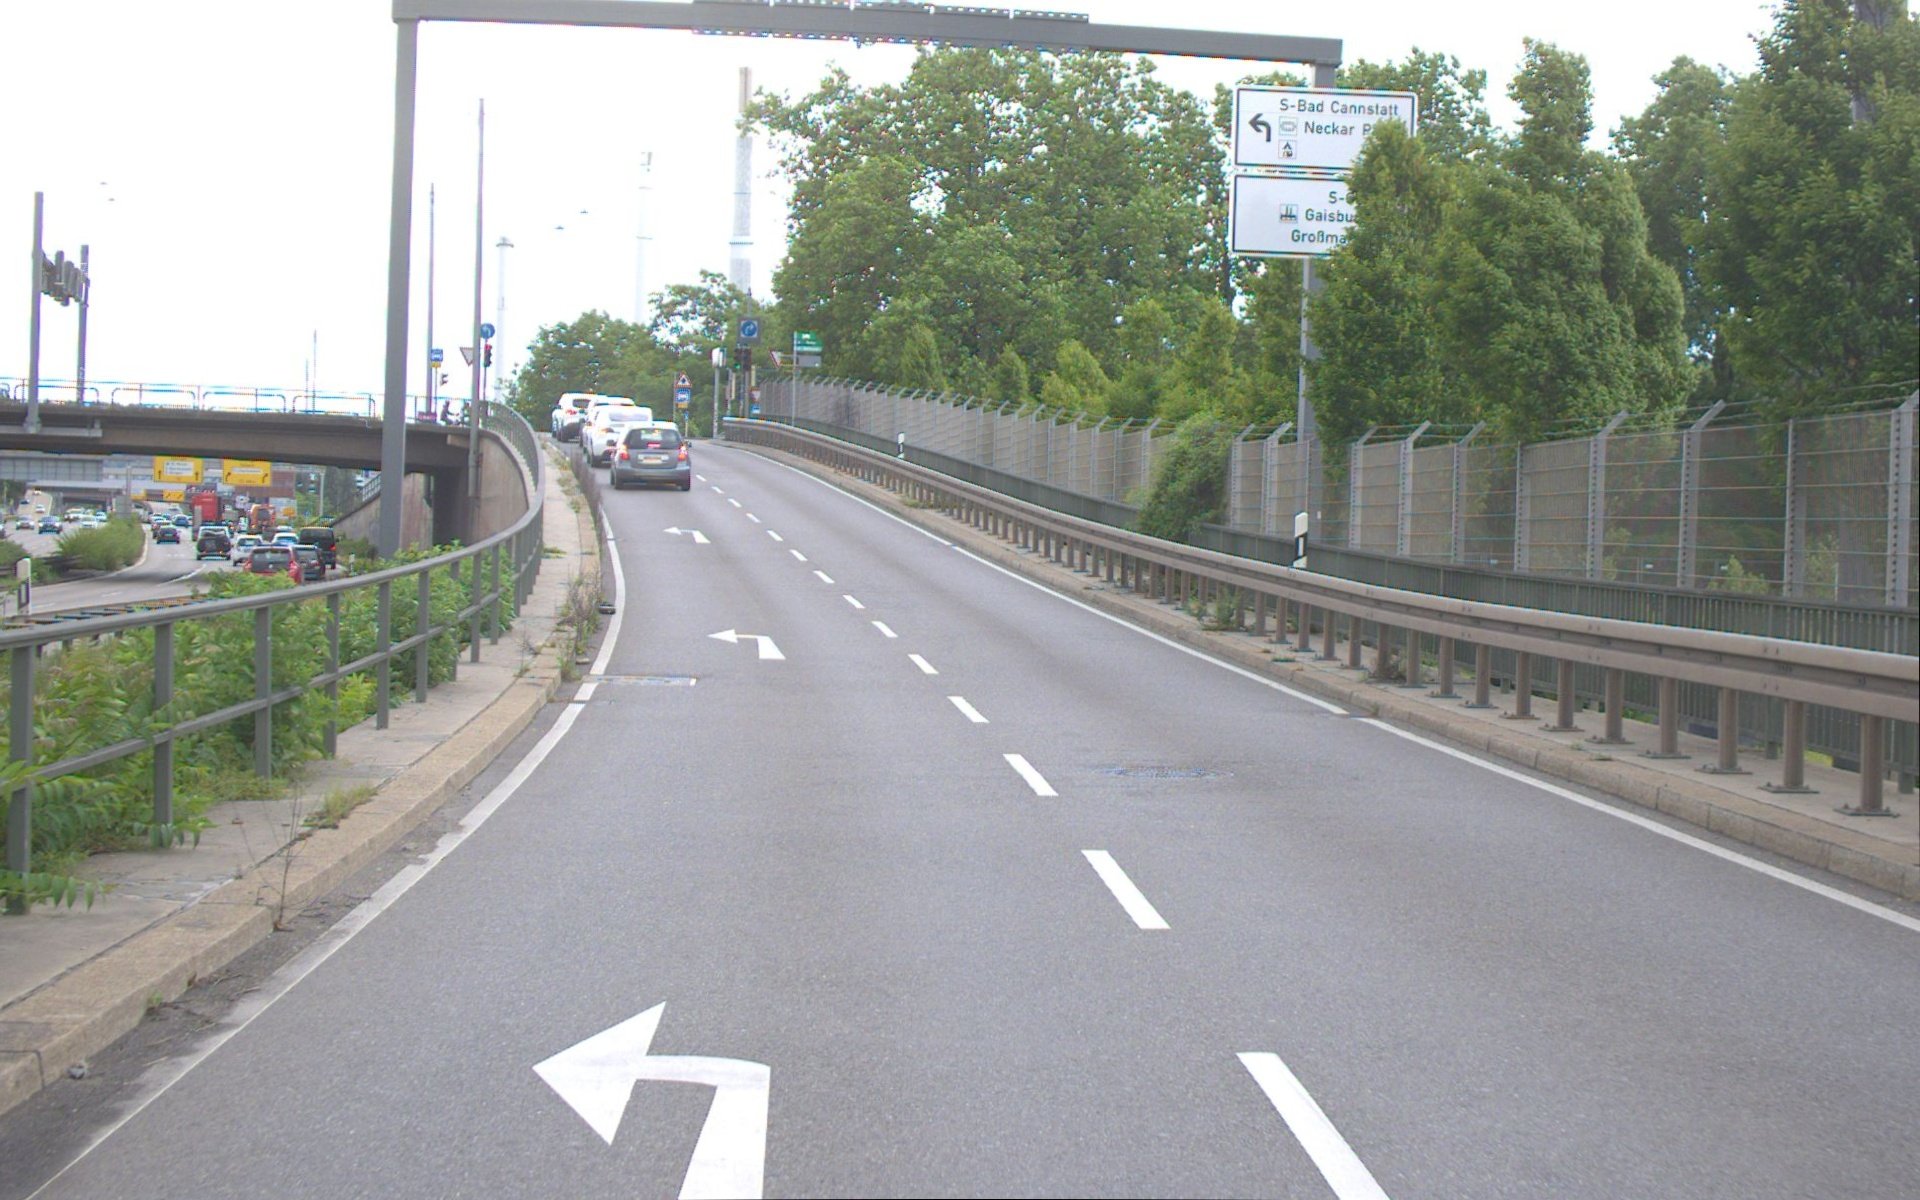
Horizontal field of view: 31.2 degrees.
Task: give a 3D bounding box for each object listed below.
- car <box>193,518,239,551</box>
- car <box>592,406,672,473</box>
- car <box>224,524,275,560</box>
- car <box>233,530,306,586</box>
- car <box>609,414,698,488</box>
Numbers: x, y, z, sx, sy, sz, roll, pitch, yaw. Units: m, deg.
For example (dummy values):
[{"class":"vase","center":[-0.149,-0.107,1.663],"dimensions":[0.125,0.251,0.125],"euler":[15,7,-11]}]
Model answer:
[{"class":"car","center":[-41.624,-3.683,192.413],"dimensions":[1.993,1.678,4.001],"euler":[2,2,-5]},{"class":"car","center":[-8.818,-4.314,92.203],"dimensions":[1.993,1.597,4.002],"euler":[0,5,-8]},{"class":"car","center":[-35.377,-2.900,171.203],"dimensions":[1.993,1.678,4.001],"euler":[2,2,-5]},{"class":"car","center":[-19.888,-1.229,99.045],"dimensions":[1.993,1.415,4.002],"euler":[2,2,-11]},{"class":"car","center":[-7.186,-3.491,80.923],"dimensions":[1.749,1.575,4.085],"euler":[2,1,-1]}]
